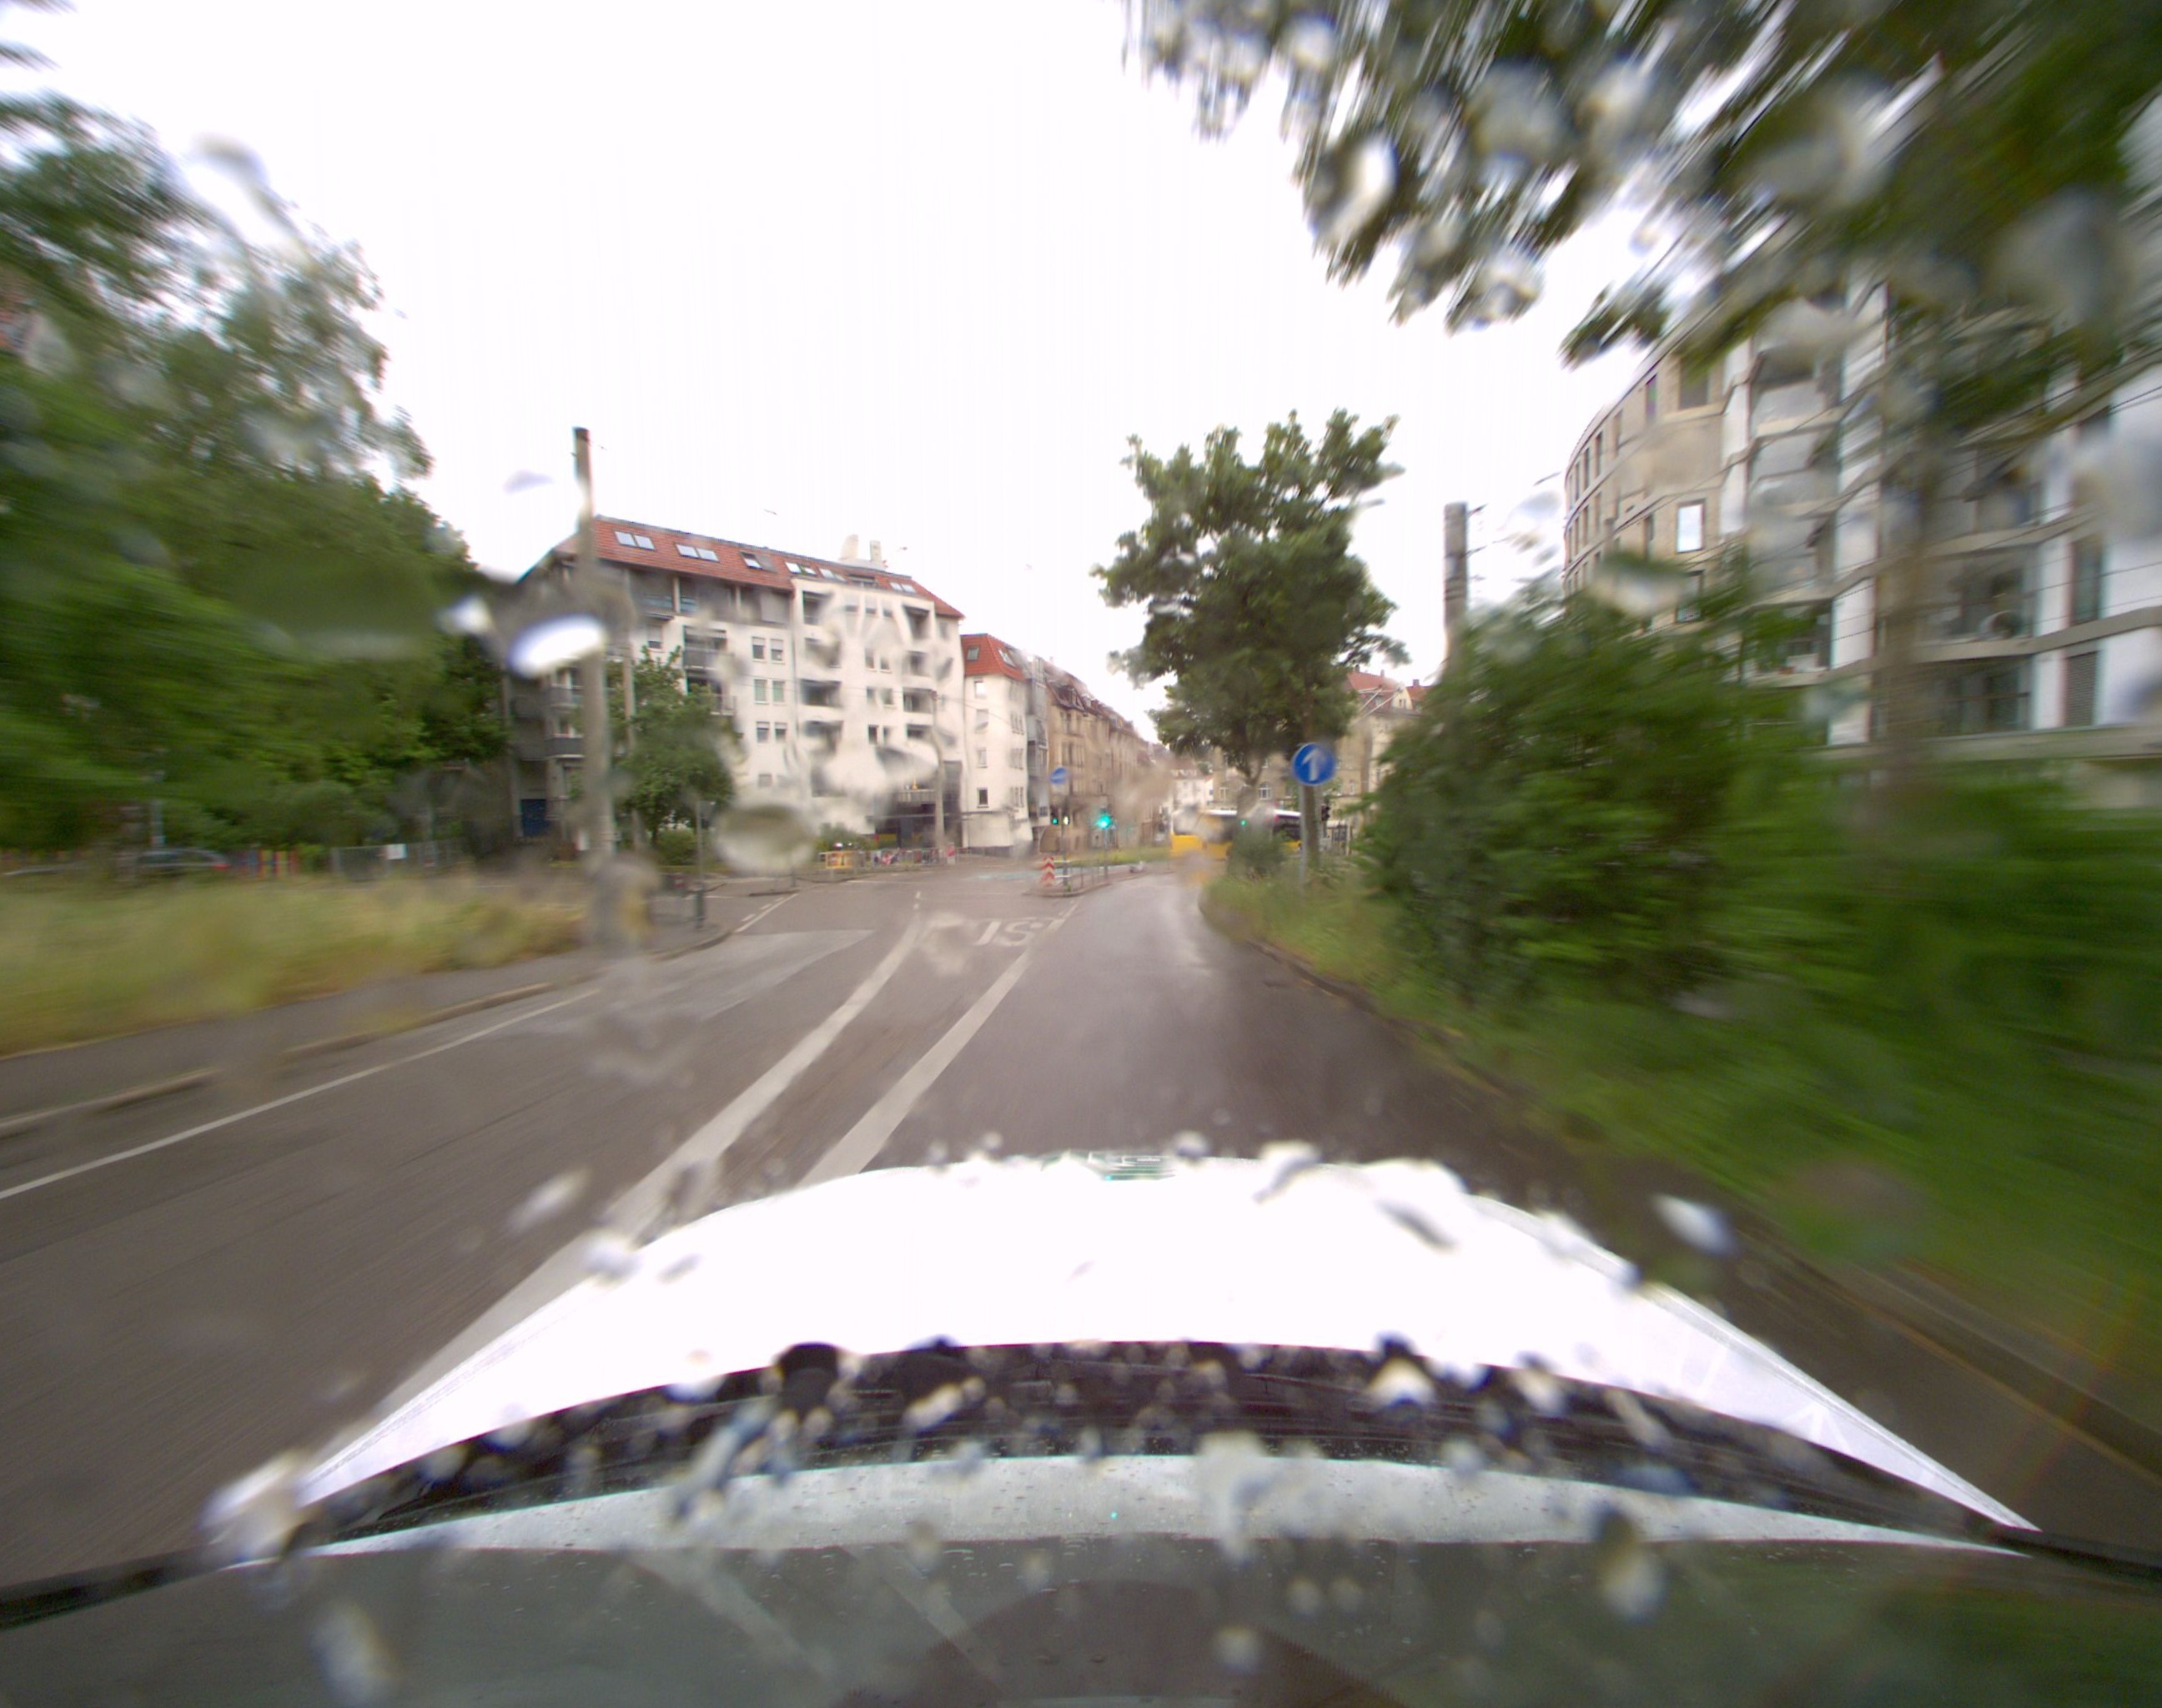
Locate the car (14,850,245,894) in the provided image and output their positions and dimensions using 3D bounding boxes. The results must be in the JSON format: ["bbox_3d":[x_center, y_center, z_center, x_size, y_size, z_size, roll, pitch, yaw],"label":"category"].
[{"bbox_3d":[-28.733,0.491,24.861,4.380,1.223,1.732,-1,1,-42],"label":"car"}]

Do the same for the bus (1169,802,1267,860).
[{"bbox_3d":[9.231,-1.462,53.832,2.565,3.469,9.166,0,1,36],"label":"bus"}]

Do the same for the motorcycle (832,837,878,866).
[{"bbox_3d":[-12.444,-0.153,44.847,0.690,1.550,2.456,5,3,37],"label":"motorcycle"}]

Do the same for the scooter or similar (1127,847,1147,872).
[{"bbox_3d":[2.599,0.244,37.679,0.429,1.113,1.613,1,1,21],"label":"scooter or similar"}]

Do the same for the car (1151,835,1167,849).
[{"bbox_3d":[12.137,-1.855,126.587,2.129,2.136,4.859,0,1,2],"label":"car"}]

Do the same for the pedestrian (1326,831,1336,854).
[{"bbox_3d":[18.891,-0.879,61.599,0.570,1.752,0.547,0,1,34],"label":"pedestrian"}]
